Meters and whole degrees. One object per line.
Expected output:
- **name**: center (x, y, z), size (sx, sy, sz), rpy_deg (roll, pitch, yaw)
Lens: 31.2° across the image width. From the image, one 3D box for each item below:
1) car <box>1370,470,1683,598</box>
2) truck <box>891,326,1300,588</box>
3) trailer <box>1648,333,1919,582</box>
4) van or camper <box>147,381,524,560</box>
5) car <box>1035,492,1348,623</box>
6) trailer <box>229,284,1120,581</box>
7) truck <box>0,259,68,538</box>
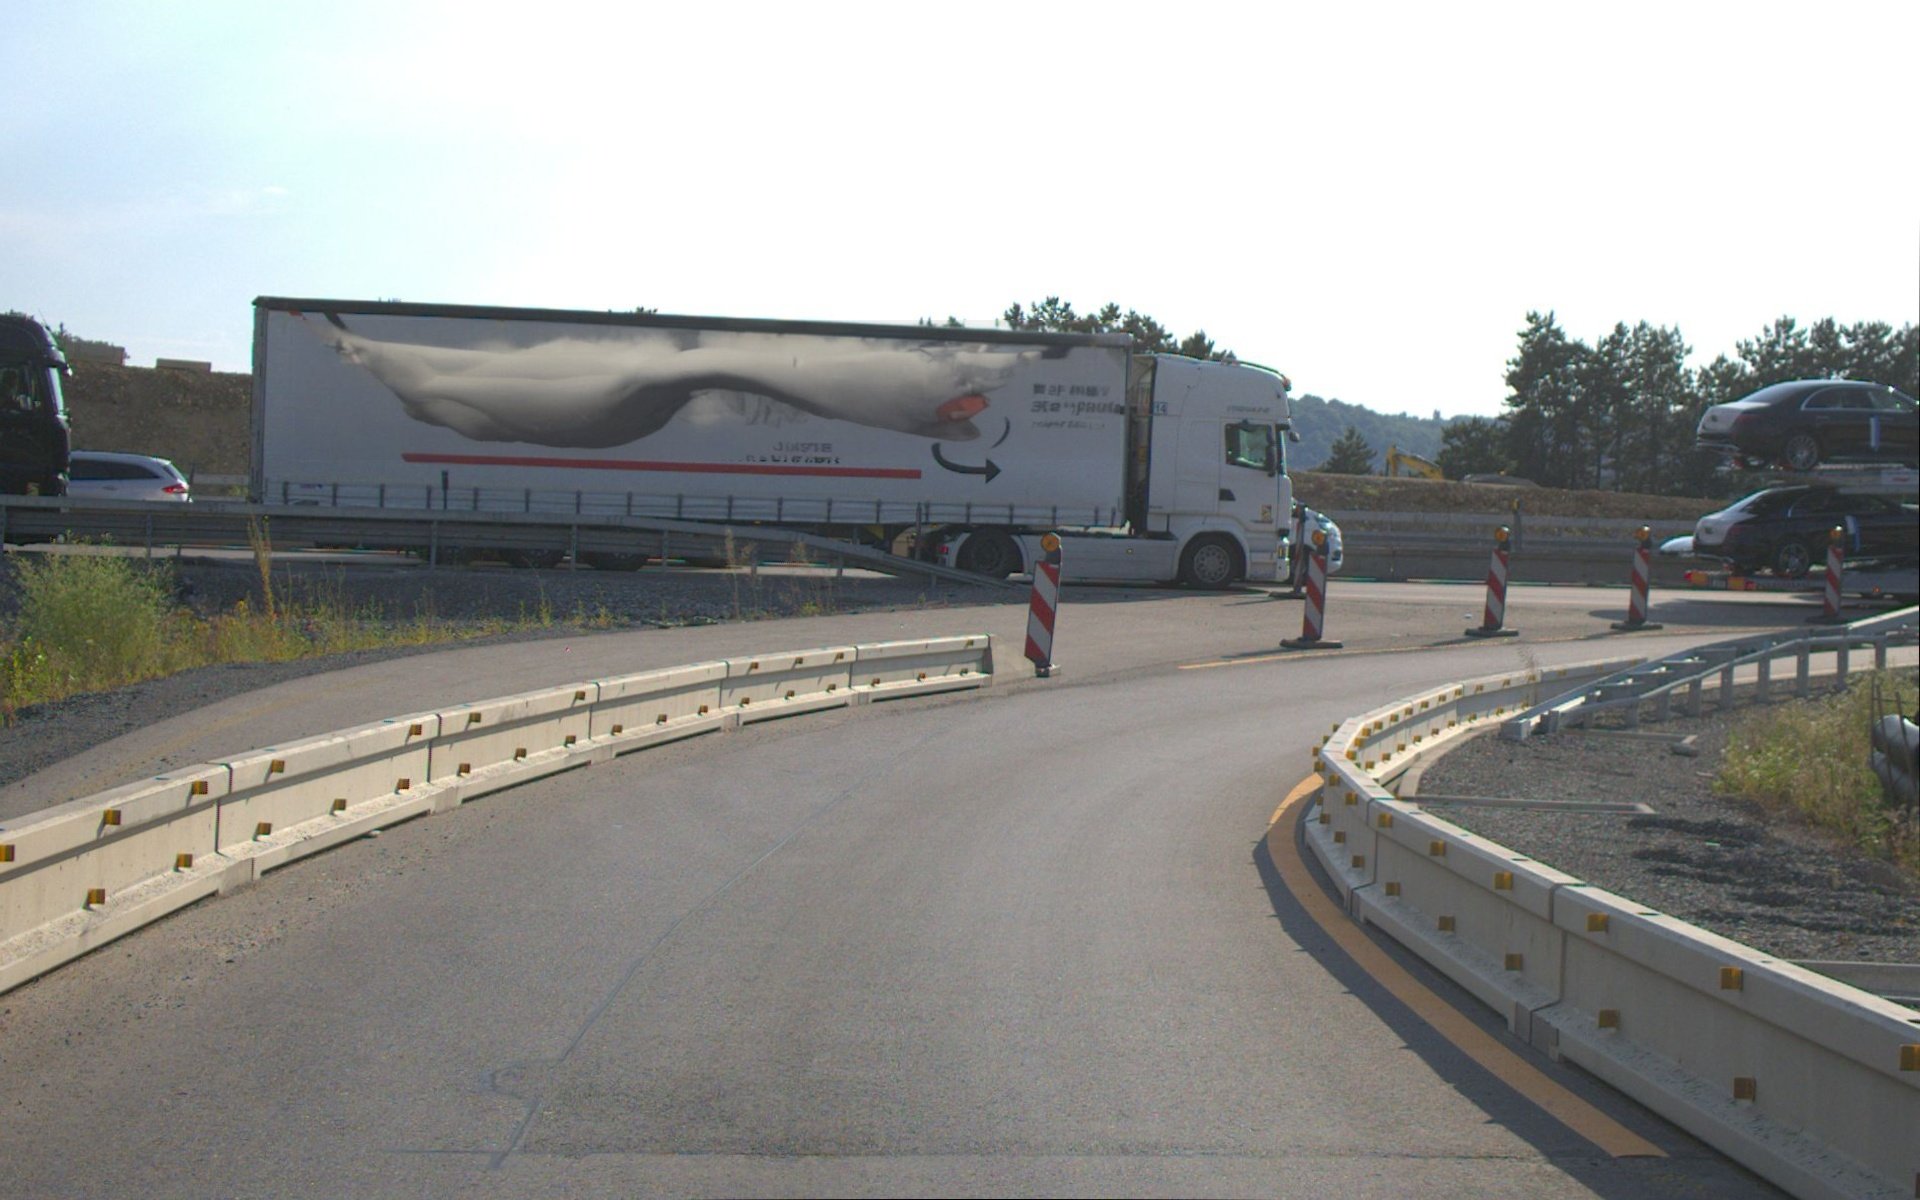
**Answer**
- **car**: center (10.015, -1.172, 60.905), size (4.961, 1.974, 2.036), rpy_deg (2, 4, -13)
- **truck**: center (2.173, -2.292, 55.823), size (5.990, 3.865, 2.489), rpy_deg (2, 2, -14)
- **trailer**: center (20.033, -2.181, 60.342), size (15.689, 3.982, 2.868), rpy_deg (2, 2, -14)
- **van or camper**: center (-10.261, -2.116, 56.462), size (5.882, 2.610, 2.001), rpy_deg (2, 2, -13)
- **car**: center (3.996, -0.747, 59.678), size (4.961, 1.974, 2.036), rpy_deg (2, 4, -13)
- **trailer**: center (-4.433, -2.559, 54.101), size (13.582, 3.865, 2.489), rpy_deg (2, 2, -14)
- **truck**: center (-16.442, -3.107, 51.069), size (5.990, 4.046, 2.489), rpy_deg (2, 2, -15)
